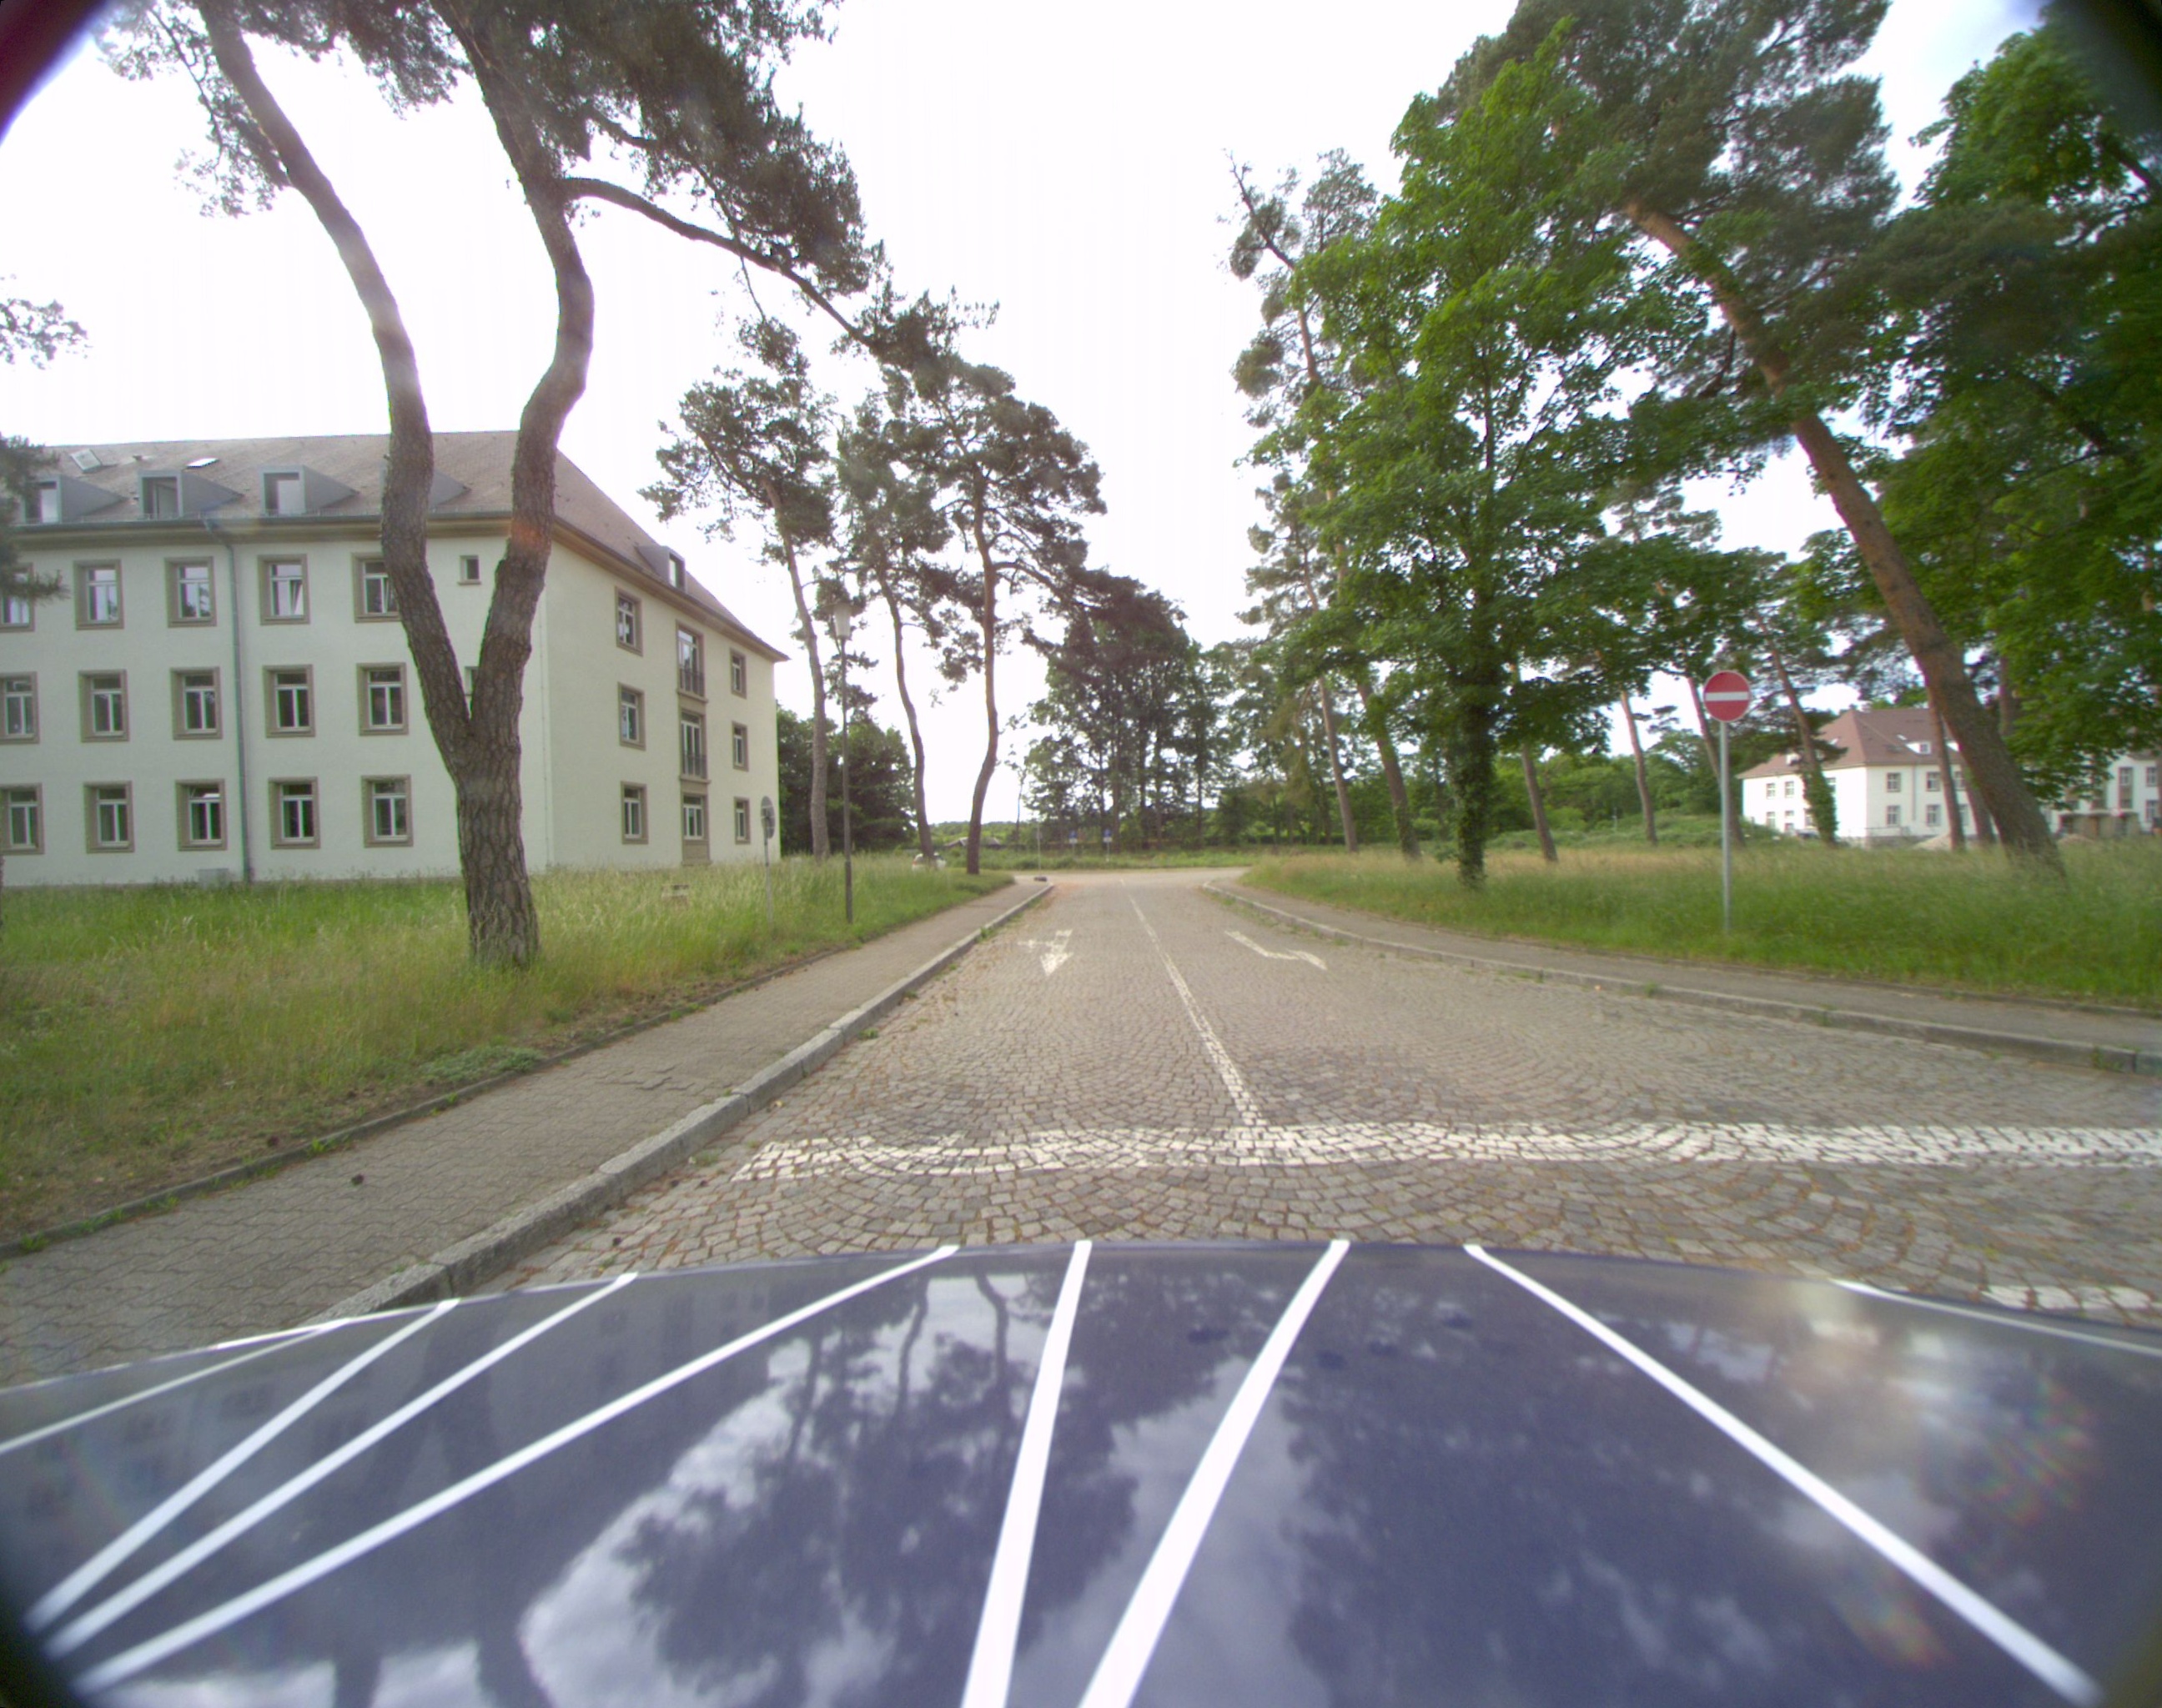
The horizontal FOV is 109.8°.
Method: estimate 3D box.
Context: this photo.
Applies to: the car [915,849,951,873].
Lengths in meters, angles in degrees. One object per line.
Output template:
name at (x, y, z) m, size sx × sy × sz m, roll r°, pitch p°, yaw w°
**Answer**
car at (-10.029, 0.448, 51.612) m, size 1.640 × 1.426 × 3.277 m, roll -1°, pitch 3°, yaw 2°
